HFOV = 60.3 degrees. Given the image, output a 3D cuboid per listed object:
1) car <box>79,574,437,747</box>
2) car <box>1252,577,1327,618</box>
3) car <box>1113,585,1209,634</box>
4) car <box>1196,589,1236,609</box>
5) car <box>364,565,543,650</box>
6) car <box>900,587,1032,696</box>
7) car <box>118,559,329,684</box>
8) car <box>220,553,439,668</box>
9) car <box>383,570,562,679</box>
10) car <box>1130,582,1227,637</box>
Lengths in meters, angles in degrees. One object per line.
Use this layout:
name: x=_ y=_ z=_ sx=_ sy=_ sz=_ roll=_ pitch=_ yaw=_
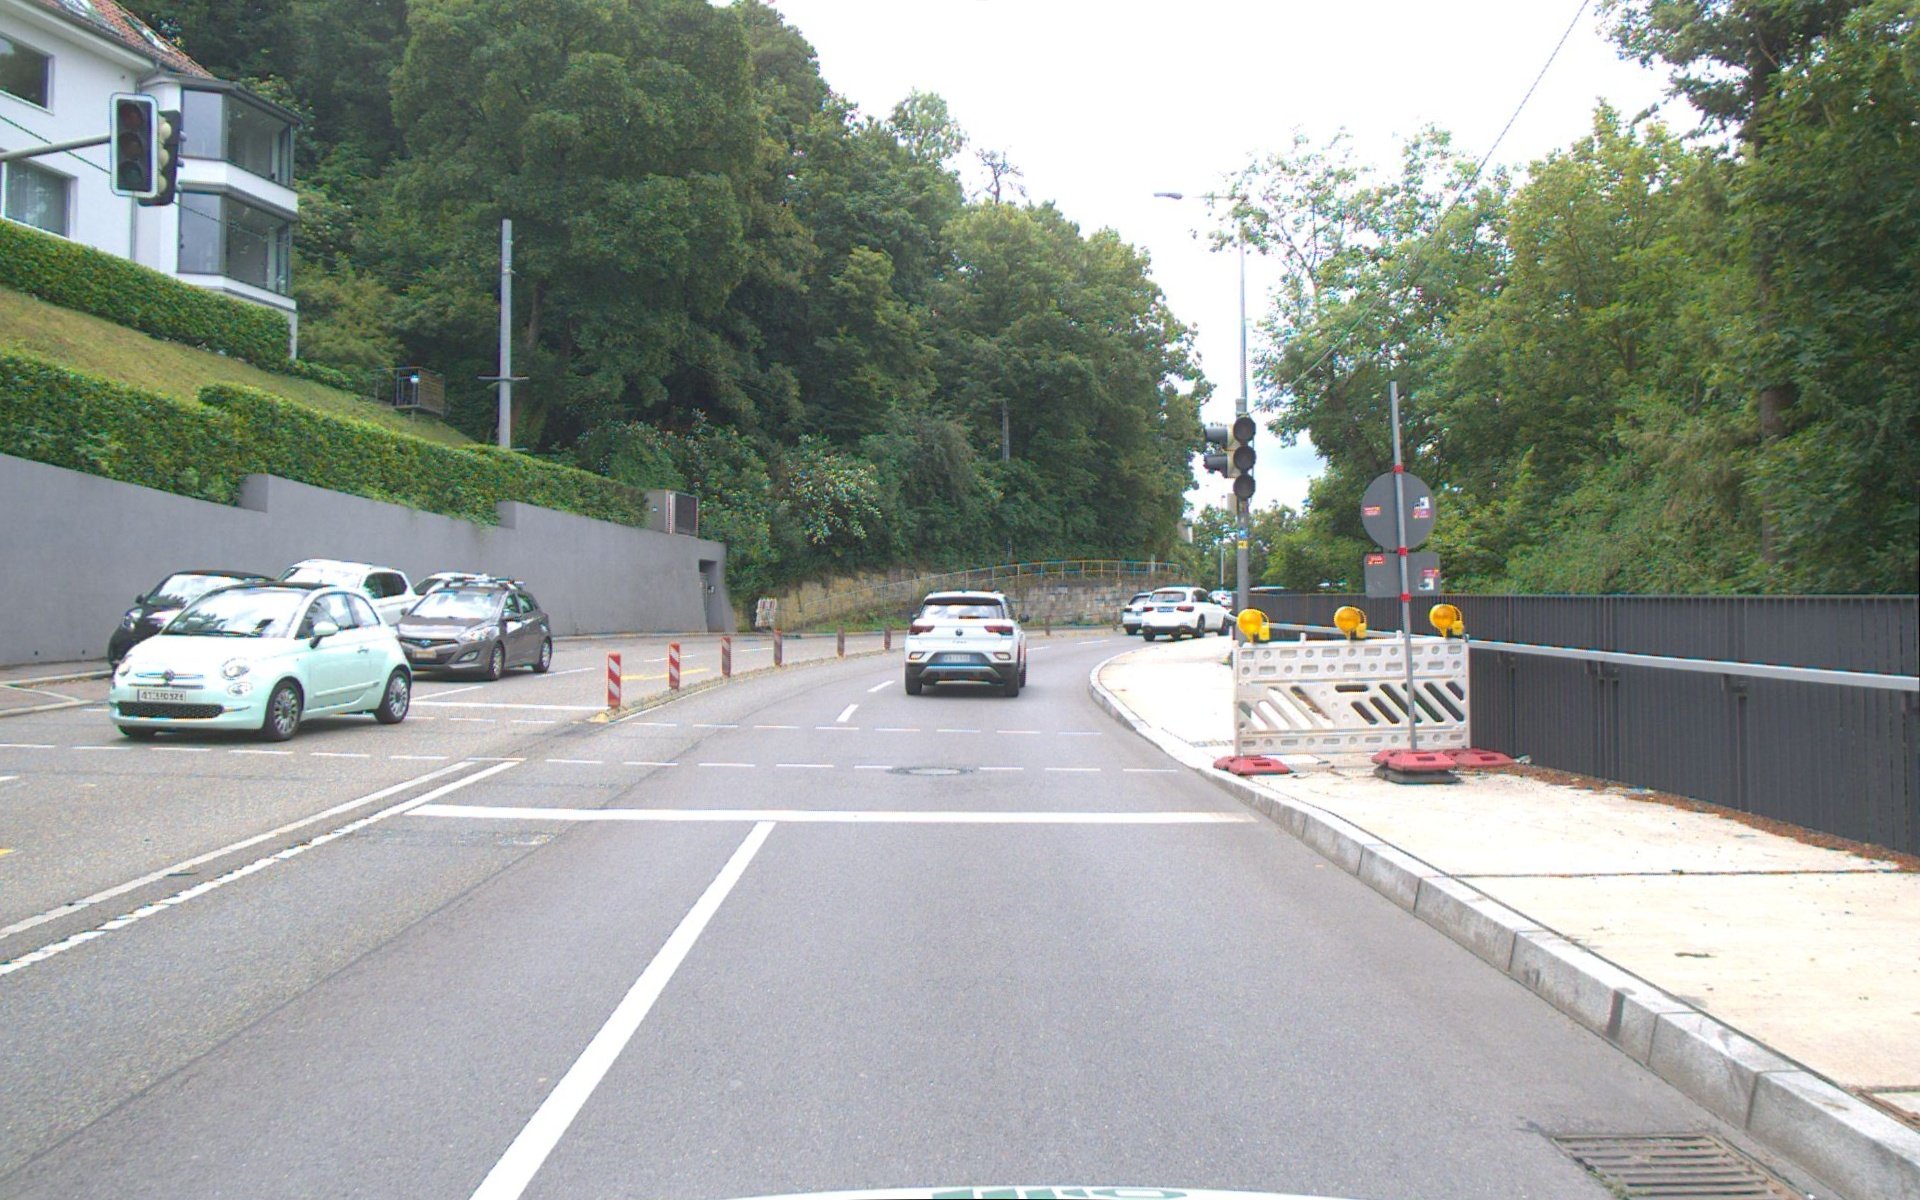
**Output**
car: x=-6.919 y=0.533 z=16.737 sx=1.675 sy=1.492 sz=3.663 roll=2 pitch=0 yaw=7
car: x=13.705 y=-0.078 z=68.693 sx=1.956 sy=1.568 sz=4.004 roll=2 pitch=0 yaw=28
car: x=7.137 y=0.360 z=58.374 sx=1.872 sy=1.601 sz=3.990 roll=2 pitch=0 yaw=31
car: x=21.118 y=-0.076 z=136.647 sx=1.874 sy=1.601 sz=3.986 roll=2 pitch=0 yaw=-14
car: x=-10.463 y=0.155 z=34.547 sx=1.794 sy=1.600 sz=4.478 roll=2 pitch=0 yaw=8
car: x=0.175 y=0.586 z=26.185 sx=1.828 sy=1.563 sz=3.805 roll=1 pitch=1 yaw=4
car: x=-10.661 y=0.260 z=24.163 sx=1.676 sy=1.600 sz=2.958 roll=4 pitch=1 yaw=0
car: x=-10.825 y=0.165 z=28.800 sx=1.821 sy=1.761 sz=4.762 roll=3 pitch=0 yaw=1
car: x=-7.930 y=0.379 z=27.291 sx=1.676 sy=1.625 sz=4.206 roll=1 pitch=0 yaw=0
car: x=6.913 y=0.317 z=52.038 sx=1.954 sy=1.614 sz=3.998 roll=2 pitch=0 yaw=24
